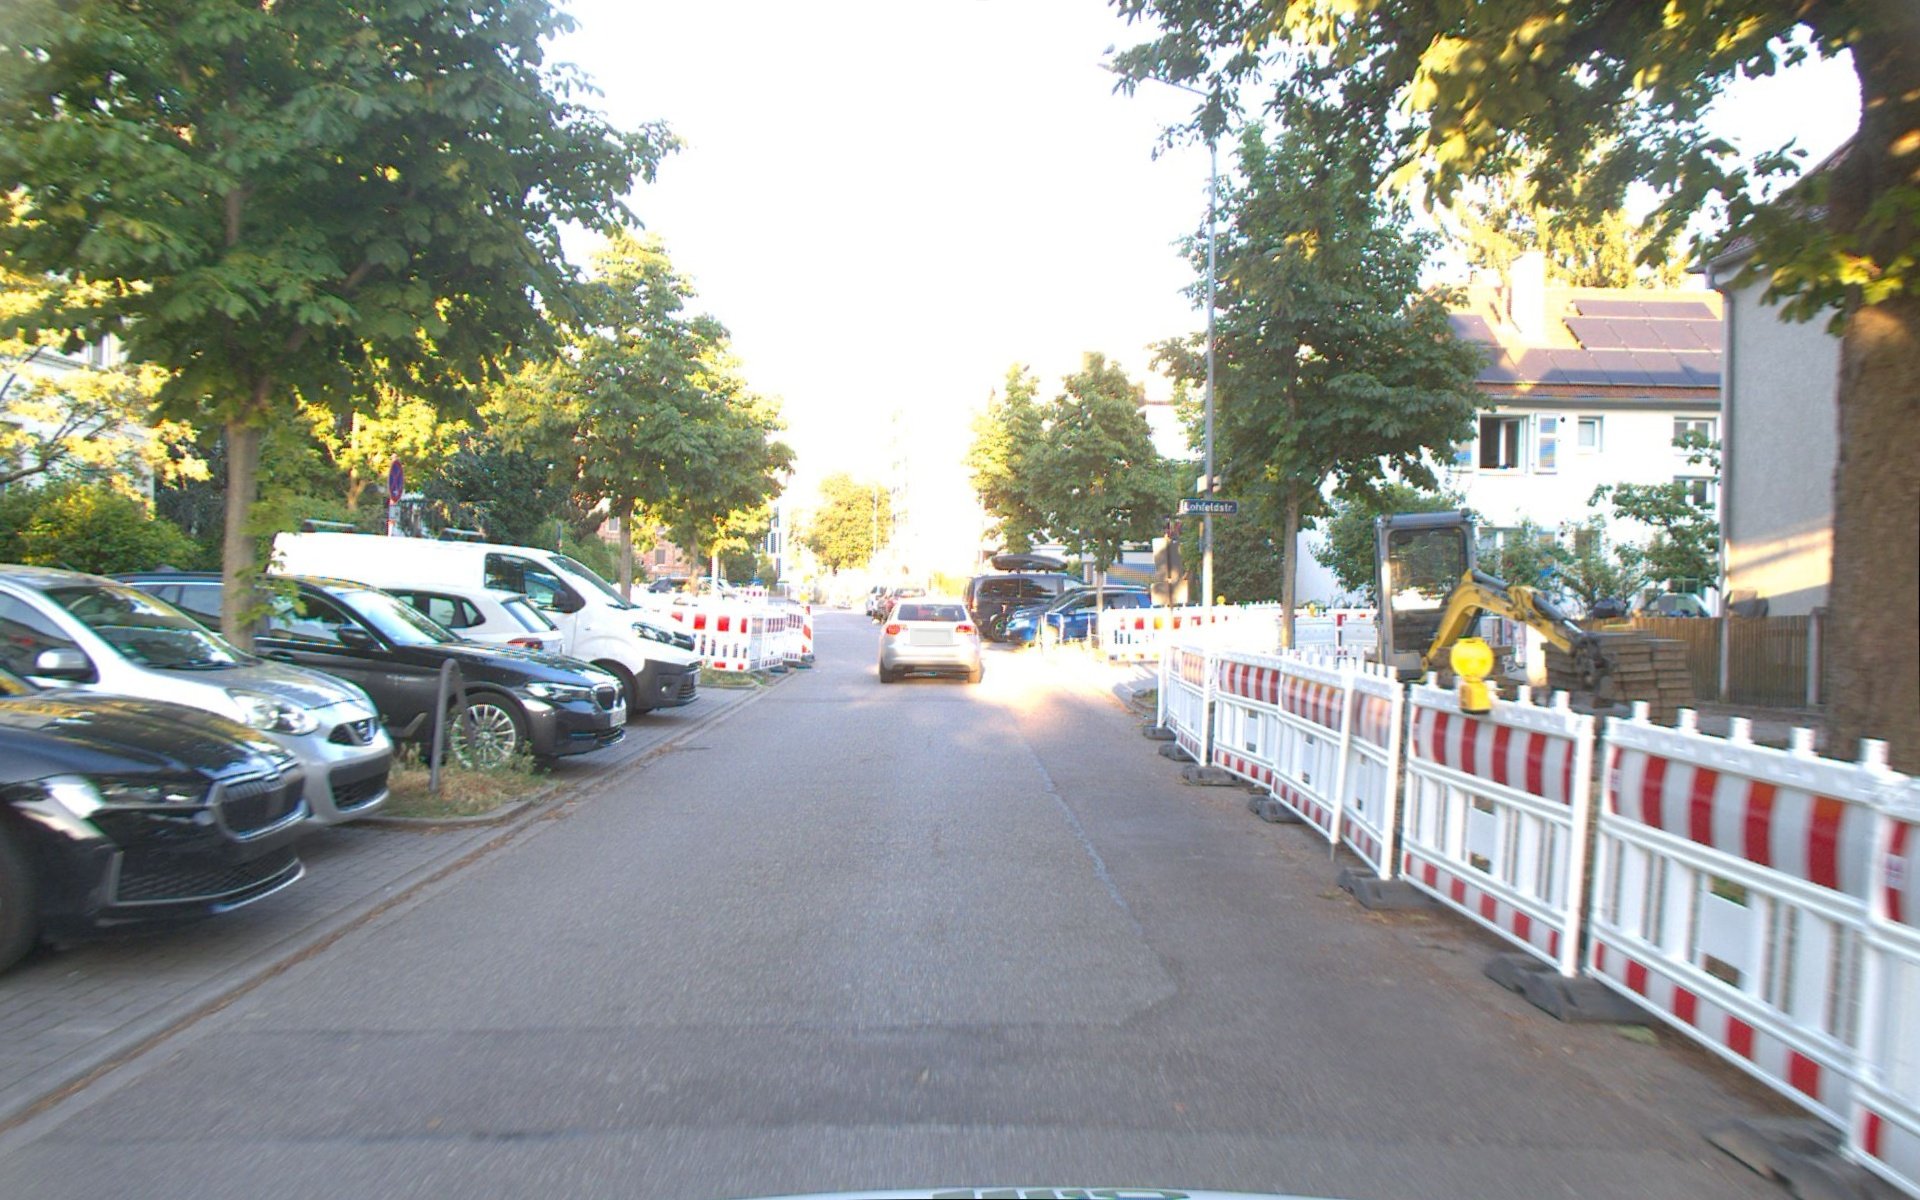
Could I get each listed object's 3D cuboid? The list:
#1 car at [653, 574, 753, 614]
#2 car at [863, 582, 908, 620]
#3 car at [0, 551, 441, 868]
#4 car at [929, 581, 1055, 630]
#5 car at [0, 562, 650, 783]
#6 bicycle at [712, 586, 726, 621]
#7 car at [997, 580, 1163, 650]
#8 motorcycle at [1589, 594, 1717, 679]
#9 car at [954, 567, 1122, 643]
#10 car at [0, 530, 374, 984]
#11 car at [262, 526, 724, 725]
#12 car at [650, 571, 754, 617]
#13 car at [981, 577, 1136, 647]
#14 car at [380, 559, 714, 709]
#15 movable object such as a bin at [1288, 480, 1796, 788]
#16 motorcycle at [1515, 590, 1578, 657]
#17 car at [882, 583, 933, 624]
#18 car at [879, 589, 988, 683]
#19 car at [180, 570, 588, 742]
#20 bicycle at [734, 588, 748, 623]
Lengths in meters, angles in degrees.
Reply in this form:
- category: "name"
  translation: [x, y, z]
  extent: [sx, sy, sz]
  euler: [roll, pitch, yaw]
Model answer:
- category: "car"
  translation: [-10.353, -0.258, 66.653]
  extent: [3.914, 1.506, 1.996]
  euler: [-1, 2, -10]
- category: "car"
  translation: [-3.434, 0.008, 75.751]
  extent: [1.774, 1.641, 3.576]
  euler: [1, 1, -6]
- category: "car"
  translation: [-5.149, 0.536, 9.324]
  extent: [3.910, 1.606, 1.799]
  euler: [1, 1, -6]
- category: "car"
  translation: [1.108, 0.196, 57.690]
  extent: [4.077, 1.599, 1.792]
  euler: [1, 1, -13]
- category: "car"
  translation: [-5.087, 0.561, 13.627]
  extent: [4.676, 1.496, 1.880]
  euler: [3, 0, -2]
- category: "bicycle"
  translation: [-8.717, 0.117, 59.819]
  extent: [0.398, 1.248, 1.982]
  euler: [1, 1, -10]
- category: "car"
  translation: [3.088, 0.379, 42.826]
  extent: [3.917, 1.680, 1.759]
  euler: [1, 1, -13]
- category: "motorcycle"
  translation: [12.505, 0.643, 29.880]
  extent: [0.593, 1.441, 2.047]
  euler: [1, 1, -44]
- category: "car"
  translation: [2.211, 0.132, 47.734]
  extent: [4.474, 2.058, 2.096]
  euler: [1, 1, -10]
- category: "car"
  translation: [-4.898, 0.523, 6.791]
  extent: [4.321, 1.643, 1.898]
  euler: [1, 1, -6]
- category: "car"
  translation: [-5.171, 0.267, 18.843]
  extent: [4.676, 2.049, 1.999]
  euler: [1, 1, -3]
- category: "car"
  translation: [-10.008, -0.250, 64.295]
  extent: [3.914, 1.653, 1.996]
  euler: [1, 1, -10]
- category: "car"
  translation: [2.676, 0.322, 45.492]
  extent: [3.914, 1.799, 1.996]
  euler: [1, 1, -10]
- category: "car"
  translation: [-5.272, 0.414, 21.527]
  extent: [3.908, 1.783, 1.798]
  euler: [1, 1, -4]
- category: "movable object such as a bin"
  translation: [5.239, 0.247, 15.949]
  extent: [2.578, 2.444, 5.190]
  euler: [1, 1, -7]
- category: "motorcycle"
  translation: [10.376, 0.407, 29.229]
  extent: [0.569, 1.125, 1.840]
  euler: [2, 1, 35]
- category: "car"
  translation: [-2.100, 0.131, 65.352]
  extent: [1.697, 1.509, 3.553]
  euler: [1, 1, -6]
- category: "car"
  translation: [-0.501, 0.578, 29.072]
  extent: [1.771, 1.514, 3.999]
  euler: [0, 0, -2]
- category: "car"
  translation: [-5.537, 0.508, 16.218]
  extent: [3.344, 1.509, 1.758]
  euler: [1, 1, 0]
- category: "bicycle"
  translation: [-7.953, 0.191, 59.956]
  extent: [0.398, 1.248, 1.982]
  euler: [1, 1, -10]
